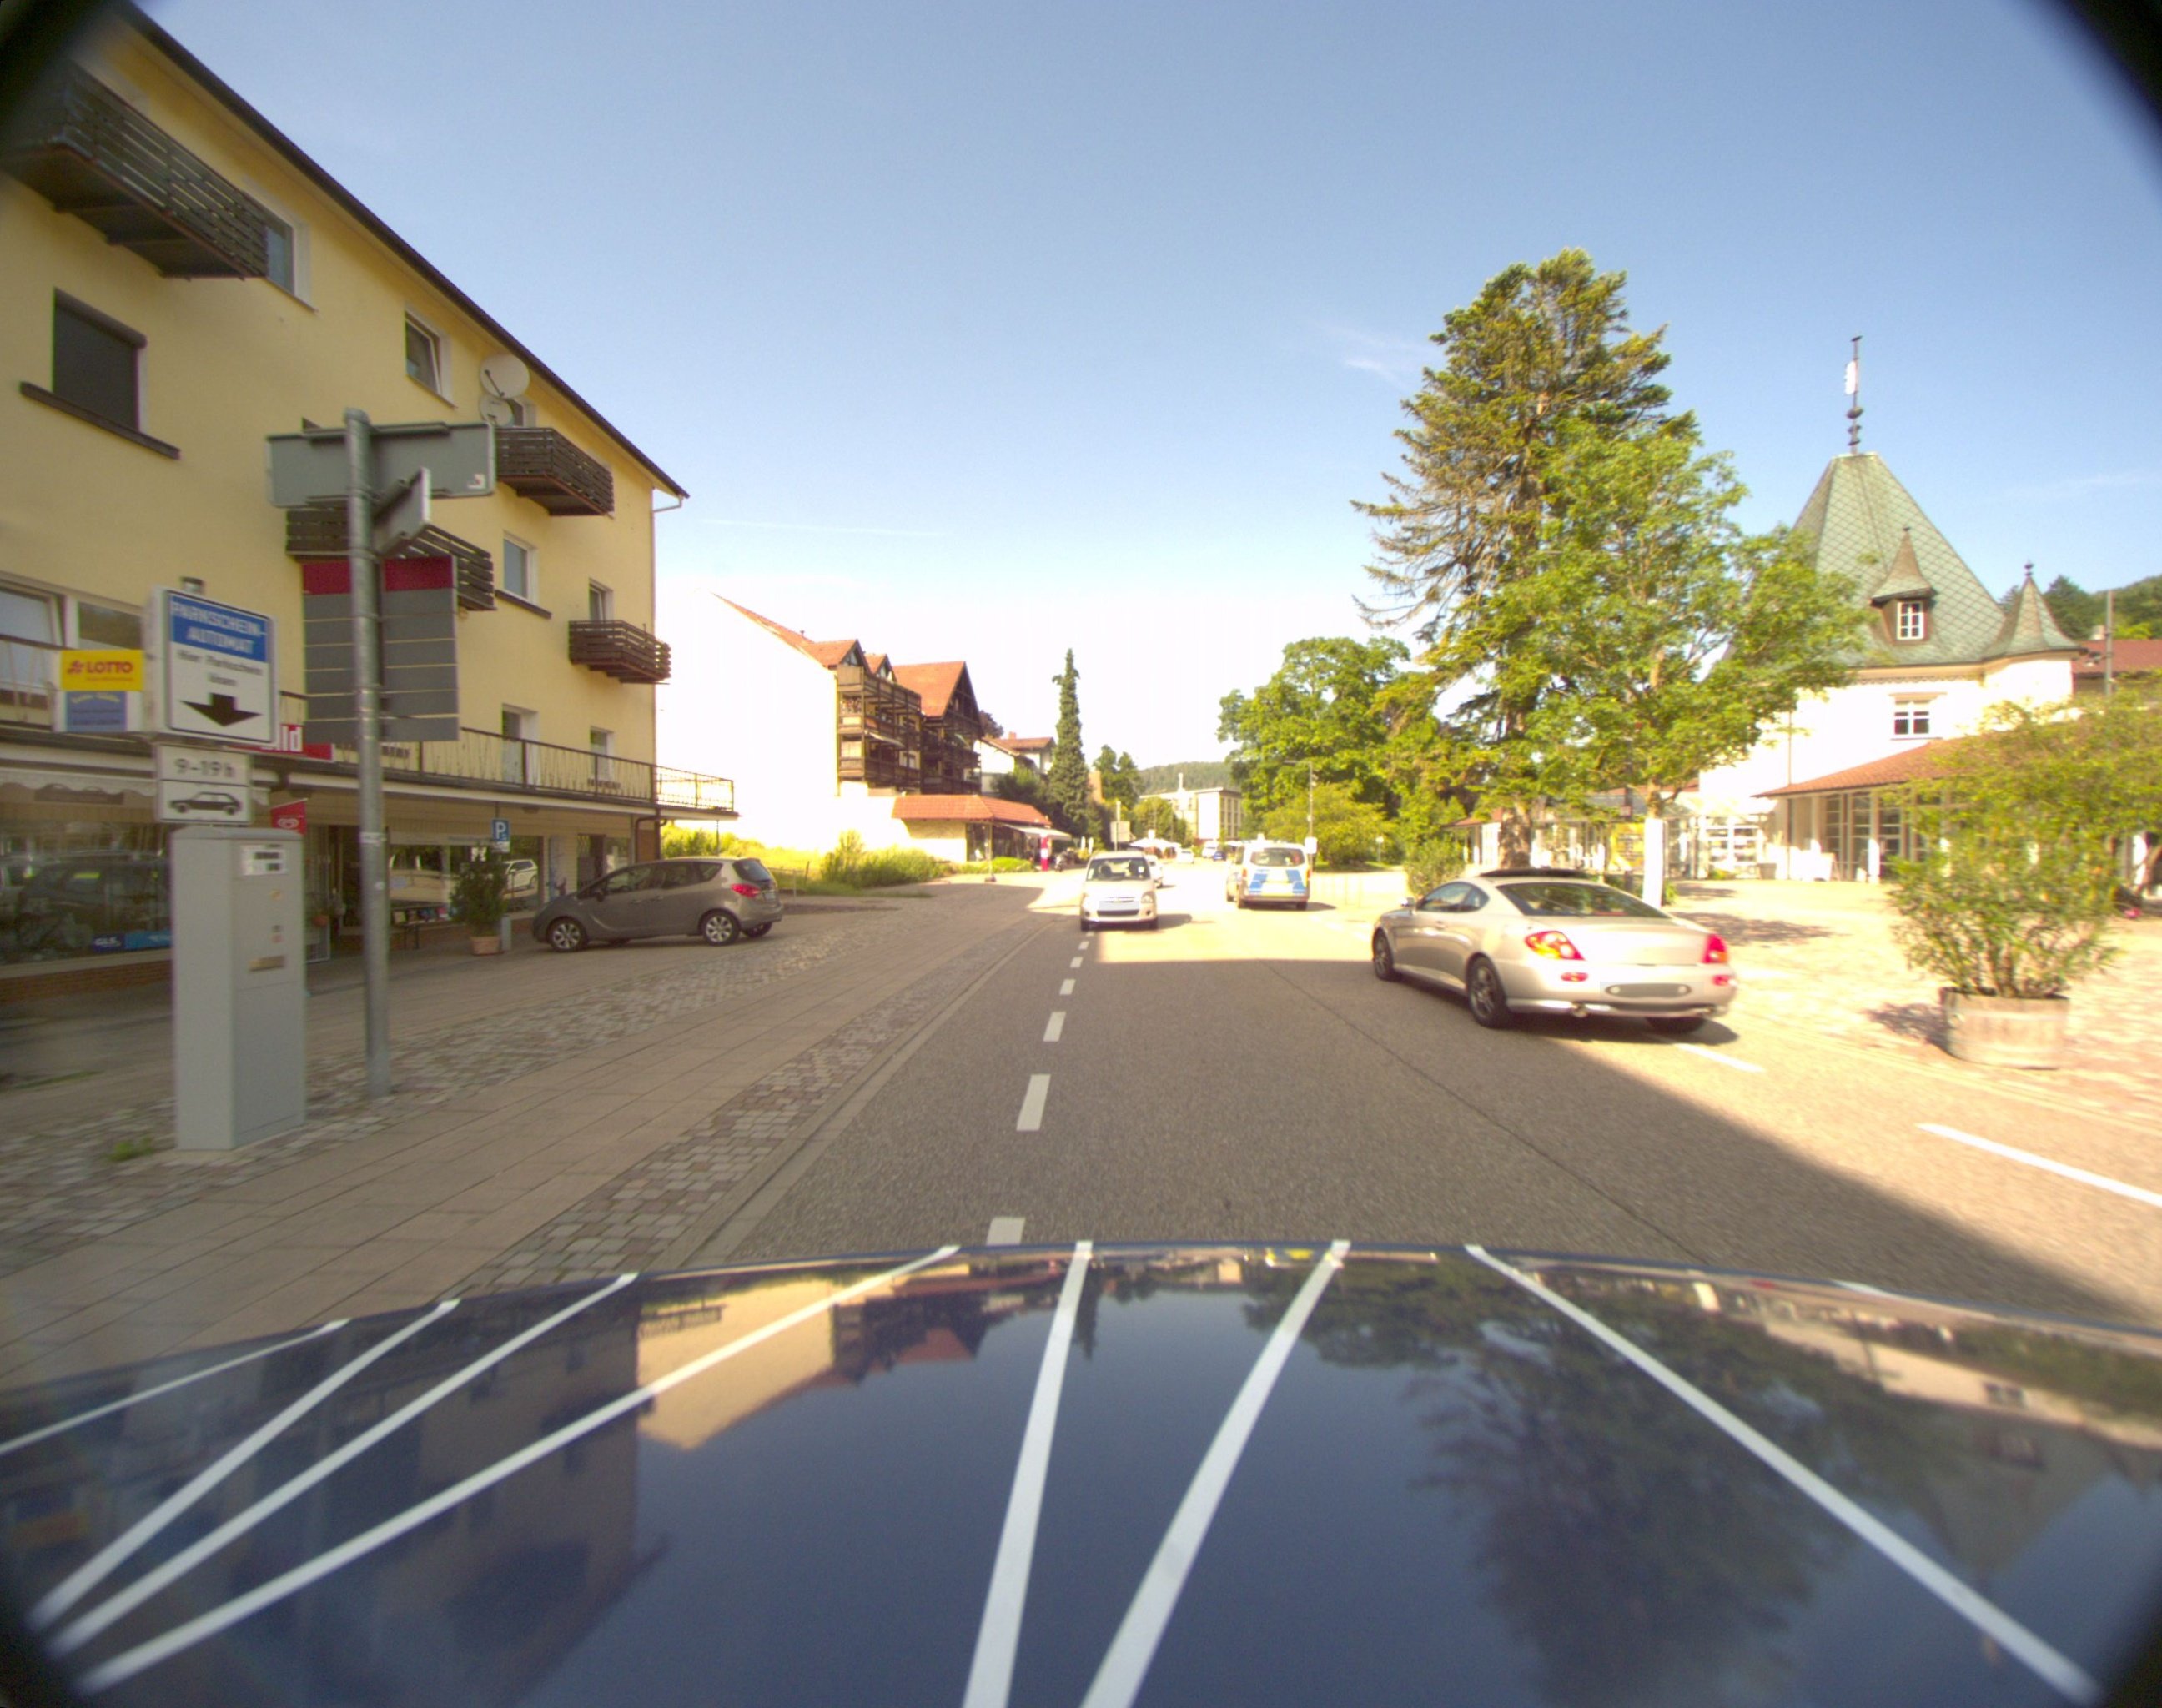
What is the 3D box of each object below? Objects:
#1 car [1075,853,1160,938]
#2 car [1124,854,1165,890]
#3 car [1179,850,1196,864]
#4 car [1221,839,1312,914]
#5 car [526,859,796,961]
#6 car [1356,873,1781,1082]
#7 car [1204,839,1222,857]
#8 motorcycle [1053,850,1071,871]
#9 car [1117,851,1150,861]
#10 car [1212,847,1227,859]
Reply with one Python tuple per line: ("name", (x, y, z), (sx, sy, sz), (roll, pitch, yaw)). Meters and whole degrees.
("car", (0.837, 0.819, 16.928), (1.604, 1.628, 4.001), (-2, 0, 3))
("car", (2.878, 0.783, 34.874), (1.740, 1.488, 3.930), (-1, 0, 4))
("car", (11.907, 0.334, 85.021), (1.653, 1.462, 4.003), (-2, 0, 11))
("car", (5.376, 0.581, 22.694), (1.858, 1.942, 5.019), (1, 1, 5))
("car", (-7.515, 0.962, 13.893), (3.869, 1.545, 1.760), (-3, 0, 0))
("car", (4.258, 0.948, 7.530), (1.631, 1.362, 4.063), (1, 0, 1))
("car", (20.626, -0.906, 118.748), (1.786, 2.775, 5.921), (-2, 0, 18))
("motorcycle", (-1.202, 0.395, 48.140), (0.698, 1.289, 2.213), (3, 1, 9))
("car", (7.376, 0.243, 106.741), (4.268, 1.371, 1.711), (1, 1, 14))
("car", (18.393, -0.155, 101.212), (1.744, 1.454, 4.188), (2, 2, 8))
